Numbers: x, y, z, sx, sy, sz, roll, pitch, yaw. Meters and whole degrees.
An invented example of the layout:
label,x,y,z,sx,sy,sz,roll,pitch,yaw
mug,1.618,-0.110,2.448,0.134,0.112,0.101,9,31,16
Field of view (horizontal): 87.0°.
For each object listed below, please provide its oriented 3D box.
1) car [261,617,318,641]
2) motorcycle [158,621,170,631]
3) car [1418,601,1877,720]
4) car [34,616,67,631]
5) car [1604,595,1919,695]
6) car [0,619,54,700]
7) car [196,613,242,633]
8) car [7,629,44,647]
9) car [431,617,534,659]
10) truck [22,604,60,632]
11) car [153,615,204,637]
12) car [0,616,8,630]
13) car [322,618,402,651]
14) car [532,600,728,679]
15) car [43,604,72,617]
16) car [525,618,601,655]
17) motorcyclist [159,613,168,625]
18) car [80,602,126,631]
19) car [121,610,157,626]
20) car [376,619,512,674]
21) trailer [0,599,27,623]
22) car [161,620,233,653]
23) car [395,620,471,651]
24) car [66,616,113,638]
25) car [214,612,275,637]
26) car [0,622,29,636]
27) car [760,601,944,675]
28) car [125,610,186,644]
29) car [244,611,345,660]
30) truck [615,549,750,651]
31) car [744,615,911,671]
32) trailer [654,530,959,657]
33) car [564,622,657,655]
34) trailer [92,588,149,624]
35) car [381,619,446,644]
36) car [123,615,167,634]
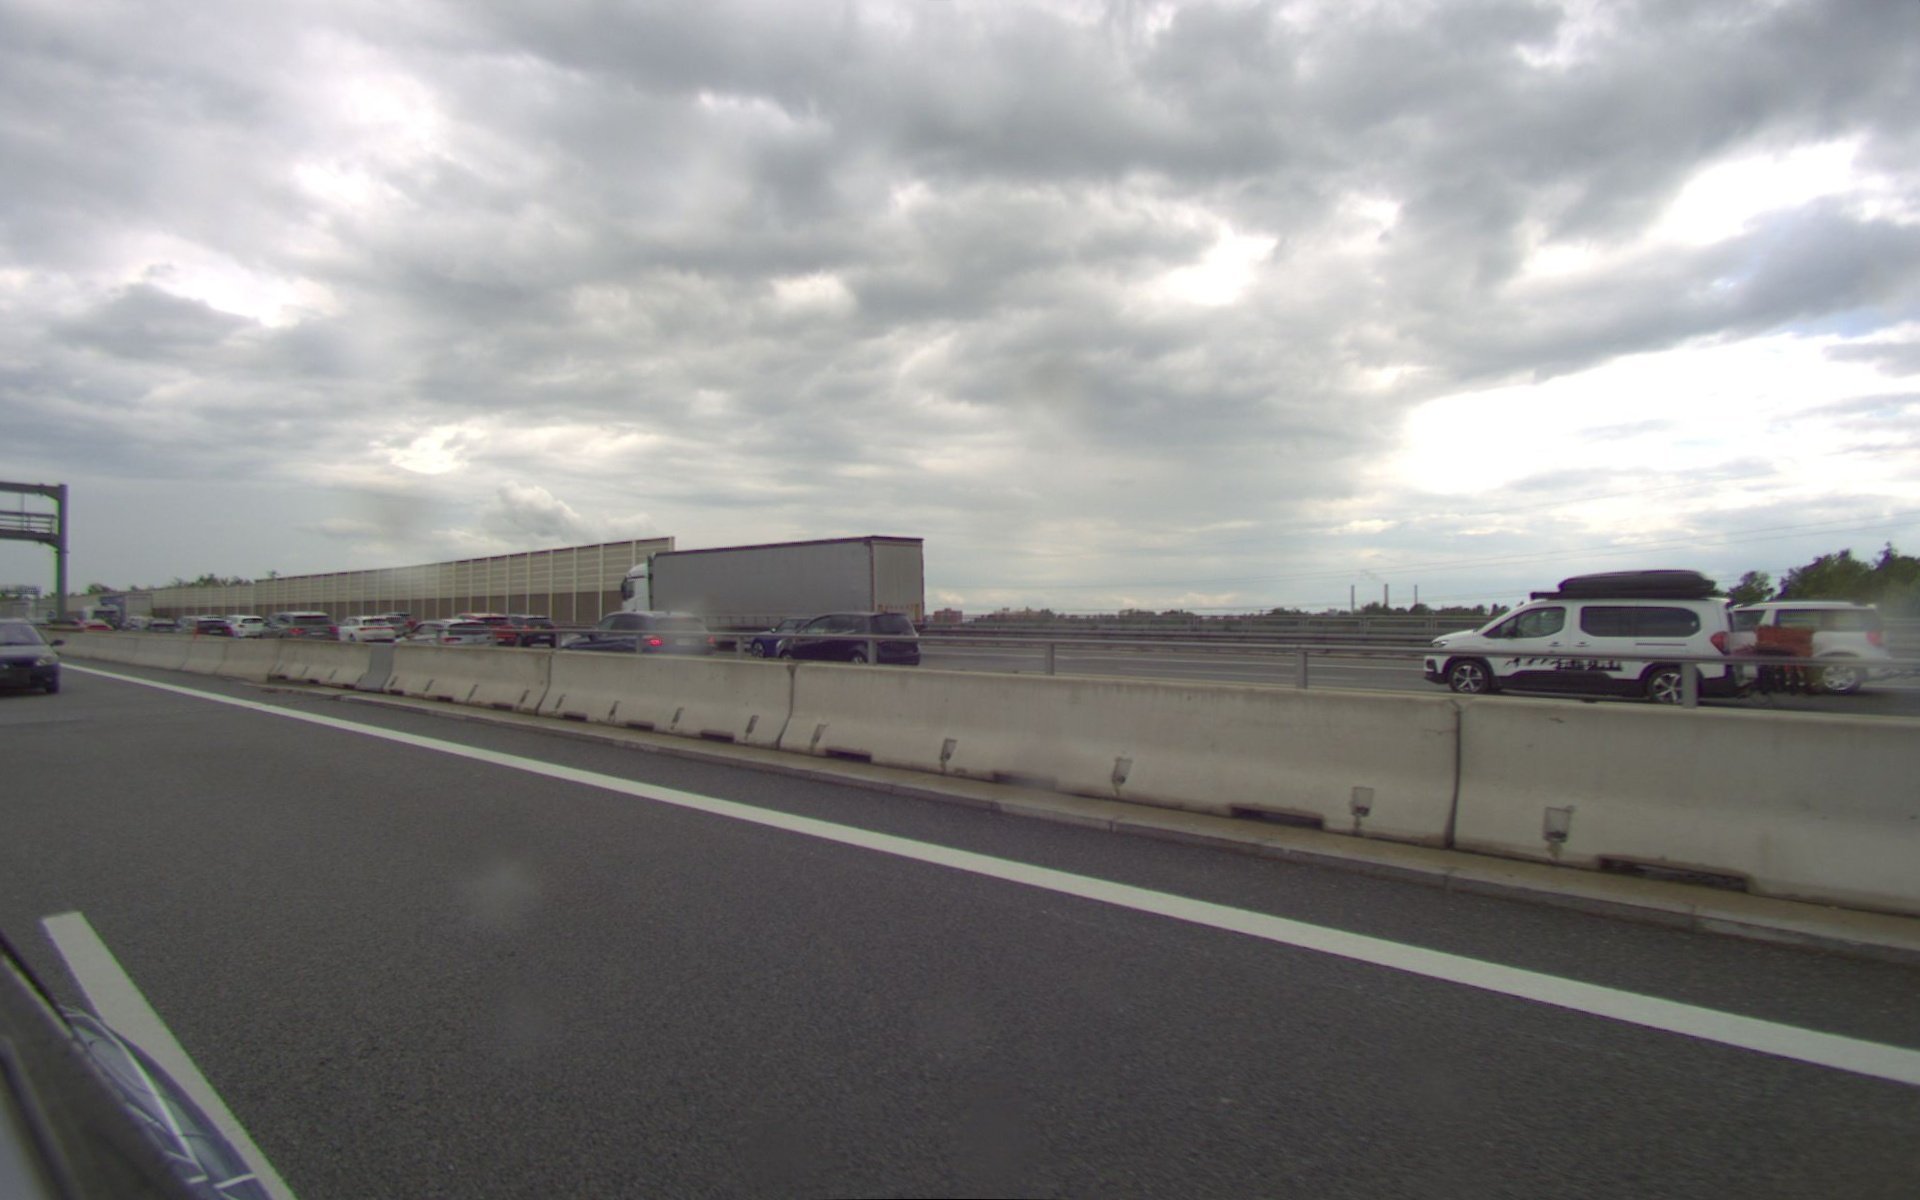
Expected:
label,x,y,z,sx,sy,sz,roll,pitch,yaw
car,-44.892,1.920,67.681,4.996,1.502,2.038,-1,-1,42
motorcycle,-83.429,2.695,106.087,2.429,1.015,0.512,-1,0,41
car,11.209,0.872,16.964,6.119,1.658,2.038,-1,-1,42
car,-92.221,2.377,102.608,4.996,1.502,2.038,-1,-1,42
car,14.953,0.767,19.055,4.518,1.658,2.038,-1,-1,42
car,-18.558,1.092,19.252,3.999,1.413,1.558,-1,-1,42
car,-59.735,1.824,81.527,4.996,1.502,2.038,-1,-1,42
car,-84.372,3.373,91.339,4.996,1.502,2.038,-1,-1,42
car,-18.938,1.458,40.057,4.718,1.546,2.038,-1,-1,42
truck,-123.884,2.431,136.348,9.991,3.554,2.668,-1,0,41
car,-55.134,1.787,71.366,4.996,1.502,2.038,-1,-1,42
car,-127.794,3.063,133.997,5.010,1.712,1.854,-2,-1,39
car,-28.500,1.602,48.174,4.522,1.426,2.038,-1,-1,42
car,-7.879,0.850,23.847,5.379,1.658,2.038,-1,-1,42
car,-110.632,1.274,124.051,4.994,1.612,2.039,-1,-1,40
car,-16.650,1.481,42.424,3.587,1.466,1.520,-1,-1,42
motorcyclist,-83.471,2.042,106.047,0.796,1.233,0.630,-1,0,41
car,-78.676,1.527,92.893,7.085,2.569,2.358,-1,-1,42
car,-80.754,1.765,99.569,4.996,1.502,2.038,-1,-1,42
car,-16.388,1.399,31.985,5.469,1.546,2.038,-1,-1,42
trailer,-165.344,1.934,176.130,14.442,4.062,2.733,-1,-1,41
car,-38.709,1.816,51.325,4.996,1.546,2.038,-1,-1,42
car,-26.844,1.773,51.512,4.522,1.426,2.038,-1,-1,42
car,-63.260,1.945,73.510,4.996,1.502,2.038,-1,-1,42
car,-43.942,1.468,62.075,4.996,1.502,2.038,-1,-1,42
car,-116.940,3.616,125.166,4.994,1.612,2.039,-1,-1,40
car,-2.718,0.866,24.829,4.518,1.658,2.038,-1,-1,42
car,-47.527,1.559,59.754,4.996,1.894,2.038,-1,-1,42
car,-27.801,1.397,42.184,6.327,1.894,2.038,-1,-1,42
truck,-11.928,0.039,43.275,5.724,4.065,2.940,-1,-1,42
car,-4.153,1.249,31.026,5.469,1.546,2.038,-1,-1,42
trailer,-6.365,-0.096,38.228,14.449,4.062,2.900,-1,-1,42
car,-17.660,1.896,50.986,5.469,1.546,2.038,-1,-1,42
trailer,-98.853,0.755,119.047,14.441,4.062,2.733,-1,-1,40
car,-35.970,2.018,66.555,5.469,1.546,2.038,-1,-1,42
car,-65.728,1.941,81.602,4.996,1.502,2.038,-1,-1,42
